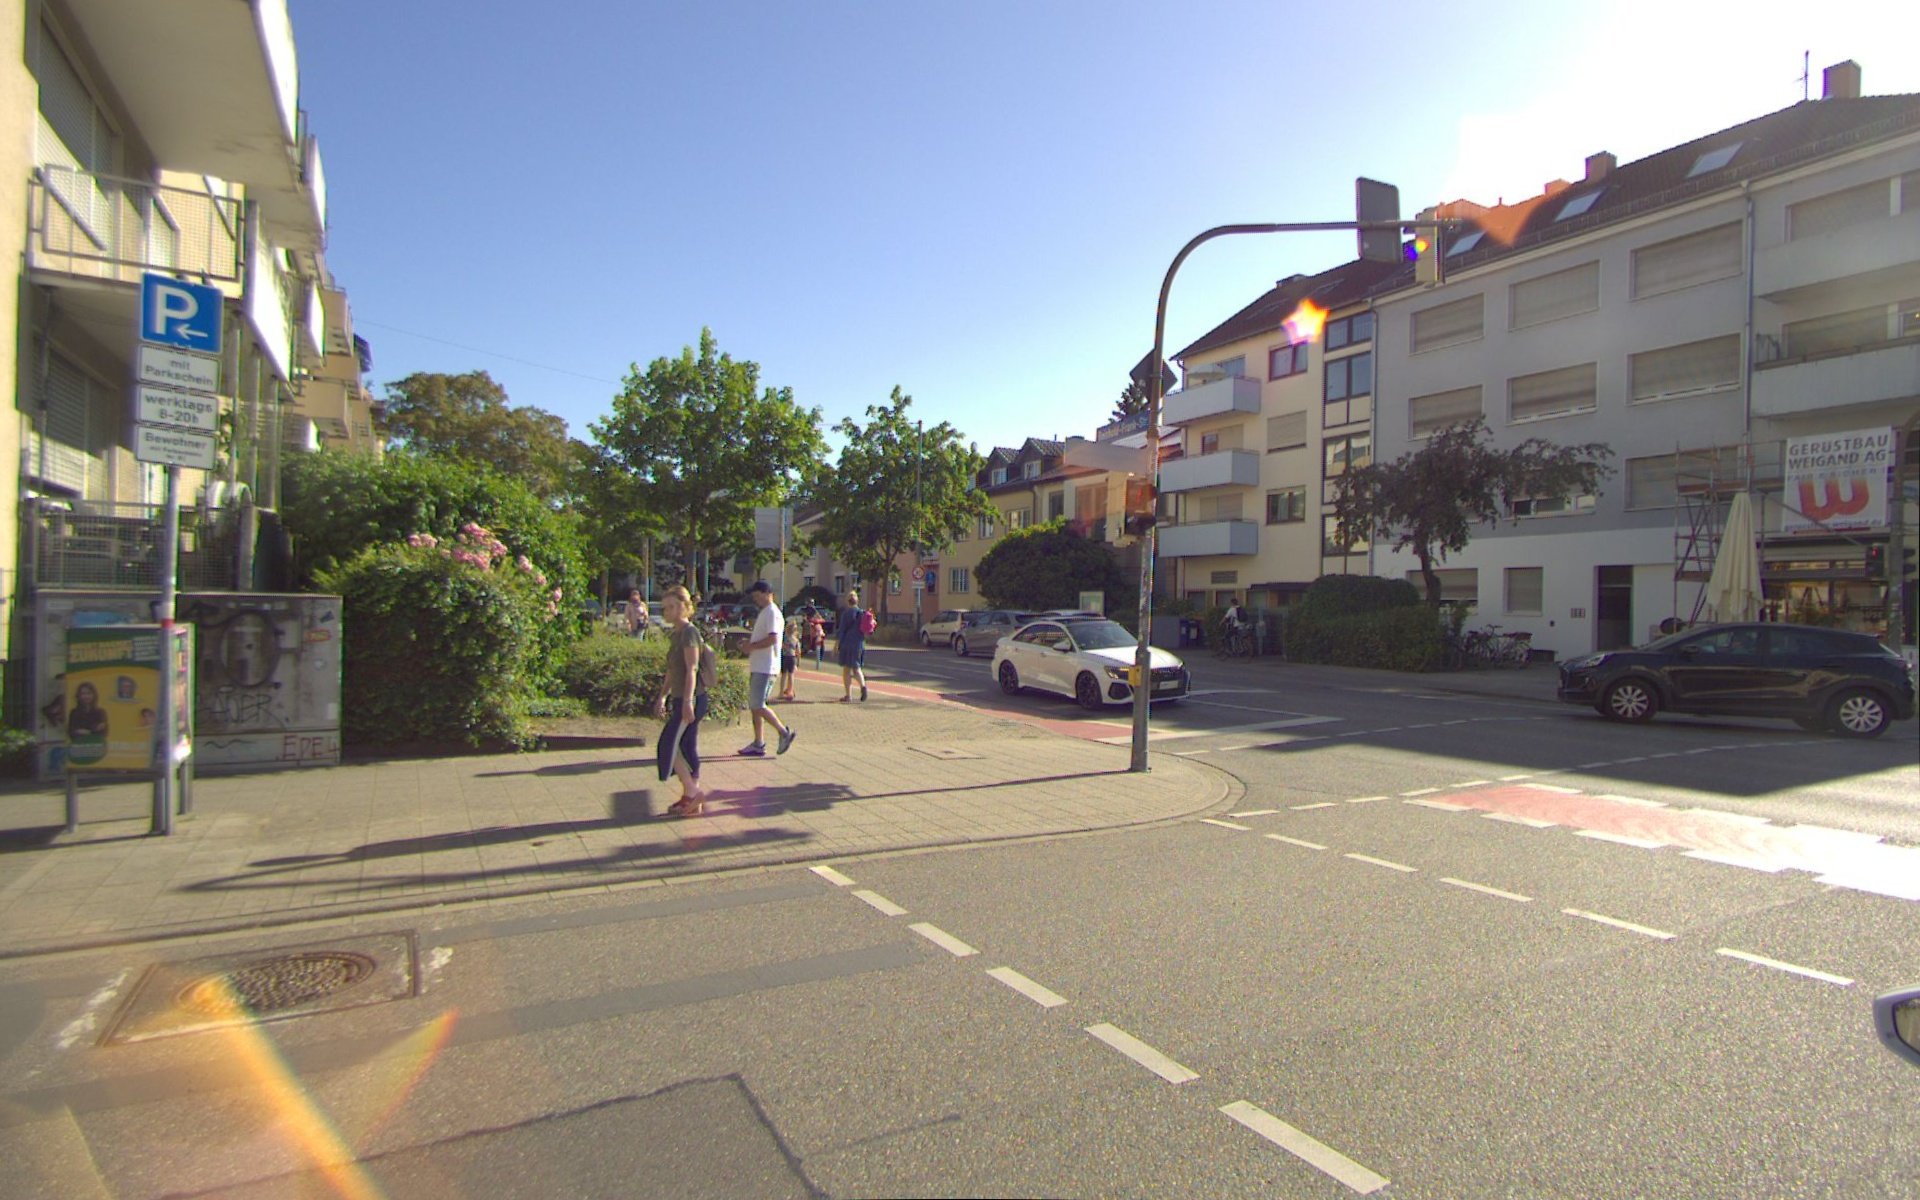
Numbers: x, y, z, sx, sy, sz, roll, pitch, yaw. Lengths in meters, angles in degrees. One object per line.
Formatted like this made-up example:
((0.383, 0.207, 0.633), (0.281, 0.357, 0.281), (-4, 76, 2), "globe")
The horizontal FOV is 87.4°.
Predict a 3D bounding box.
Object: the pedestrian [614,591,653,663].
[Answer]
((-7.401, 0.609, 22.777), (0.688, 1.617, 0.642), (1, 0, -31), "pedestrian")

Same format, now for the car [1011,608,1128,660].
((3.504, 1.059, 32.864), (1.893, 1.539, 3.969), (0, 0, -29), "car")

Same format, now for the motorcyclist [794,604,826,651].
((-4.504, 0.826, 30.163), (0.747, 1.374, 0.787), (-1, 1, -26), "motorcyclist")

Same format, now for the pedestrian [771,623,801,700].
((-2.684, 0.941, 15.502), (0.380, 1.161, 0.530), (1, 0, -16), "pedestrian")

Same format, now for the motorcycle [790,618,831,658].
((-4.518, 1.128, 30.230), (0.739, 1.149, 1.672), (-1, 0, -26), "motorcycle")

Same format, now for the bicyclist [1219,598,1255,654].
((7.970, 0.743, 28.886), (0.548, 1.569, 0.808), (1, 0, -30), "bicyclist")

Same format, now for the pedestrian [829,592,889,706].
((-1.579, 0.743, 15.620), (0.568, 1.705, 0.961), (1, 0, -30), "pedestrian")

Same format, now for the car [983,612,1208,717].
((2.251, 1.029, 17.892), (1.909, 1.455, 4.238), (-3, 2, -27), "car")

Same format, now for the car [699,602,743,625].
((-16.220, 0.919, 68.004), (1.893, 1.449, 3.969), (-2, 1, -29), "car")

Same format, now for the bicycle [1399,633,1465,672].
((12.227, 1.353, 26.070), (0.506, 0.952, 1.583), (1, -1, -27), "bicycle")

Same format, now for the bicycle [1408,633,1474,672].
((12.699, 1.368, 26.562), (0.506, 0.952, 1.583), (1, -1, -27), "bicycle")

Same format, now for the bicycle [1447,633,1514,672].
((13.652, 1.359, 26.386), (0.506, 0.952, 1.583), (1, -1, -27), "bicycle")

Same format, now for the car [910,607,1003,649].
((-0.193, 1.044, 38.700), (1.893, 1.449, 3.969), (-2, 1, -29), "car")

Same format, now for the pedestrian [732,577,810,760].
((-1.837, 0.645, 9.739), (0.658, 1.711, 0.573), (1, 0, -17), "pedestrian")

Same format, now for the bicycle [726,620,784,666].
((-5.782, 1.217, 28.411), (1.550, 1.177, 0.447), (1, 14, -7), "bicycle")

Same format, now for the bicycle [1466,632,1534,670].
((14.353, 1.343, 26.734), (0.506, 0.952, 1.583), (1, -1, -27), "bicycle")

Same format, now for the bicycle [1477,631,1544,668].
((14.905, 1.328, 27.236), (0.506, 0.952, 1.583), (1, -1, -27), "bicycle")

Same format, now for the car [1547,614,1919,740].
((10.985, 1.042, 14.647), (4.011, 1.586, 1.596), (0, -1, 24), "car")

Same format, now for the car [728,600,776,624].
((-13.302, 0.761, 64.020), (1.893, 1.449, 3.969), (-2, 1, -29), "car")

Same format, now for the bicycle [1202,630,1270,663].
((7.918, 1.322, 28.939), (0.548, 0.845, 2.114), (1, 0, -30), "bicycle")

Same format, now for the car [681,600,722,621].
((-18.999, 0.766, 73.735), (1.893, 1.449, 3.969), (-2, 1, -29), "car")

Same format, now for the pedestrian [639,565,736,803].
((-1.935, 0.570, 7.123), (0.555, 1.602, 0.529), (1, 0, -26), "pedestrian")

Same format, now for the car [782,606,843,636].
((-7.837, 1.063, 53.233), (1.893, 1.449, 3.969), (-2, 1, -29), "car")

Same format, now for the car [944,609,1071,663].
((1.339, 1.014, 29.915), (1.822, 1.453, 4.142), (1, -1, -30), "car")
